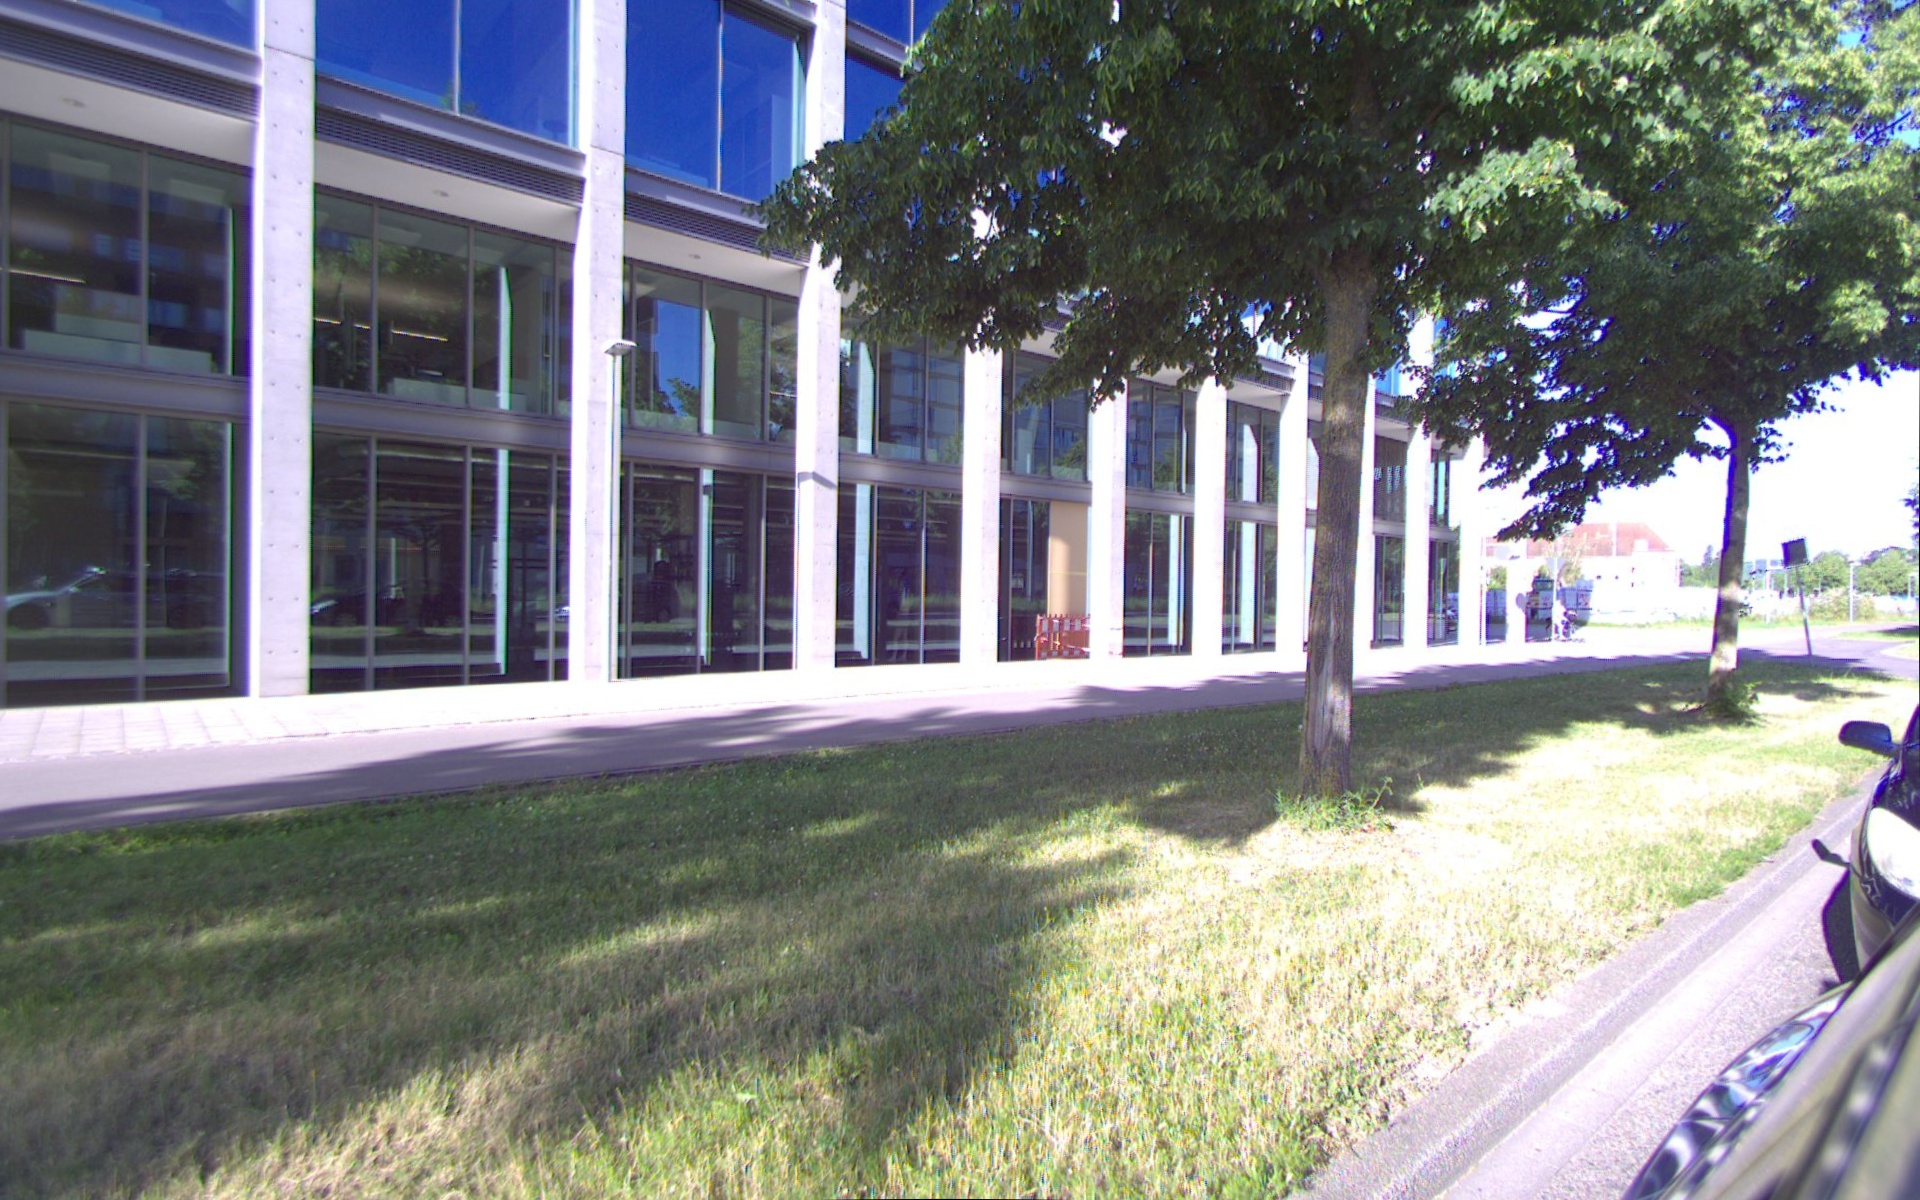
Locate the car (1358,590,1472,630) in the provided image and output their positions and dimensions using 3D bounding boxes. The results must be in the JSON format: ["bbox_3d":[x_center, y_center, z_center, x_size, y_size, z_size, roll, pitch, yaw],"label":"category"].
[{"bbox_3d":[19.497,0.387,43.492,1.963,1.598,3.997,0,1,-38],"label":"car"}]

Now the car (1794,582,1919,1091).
[{"bbox_3d":[4.897,0.704,3.943,4.403,1.500,1.845,0,1,-41],"label":"car"}]

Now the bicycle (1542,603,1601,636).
[{"bbox_3d":[24.644,0.780,40.822,0.580,1.170,1.929,2,2,-34],"label":"bicycle"}]

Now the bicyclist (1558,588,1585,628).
[{"bbox_3d":[24.661,0.324,40.806,0.580,1.558,0.700,2,1,-34],"label":"bicyclist"}]
